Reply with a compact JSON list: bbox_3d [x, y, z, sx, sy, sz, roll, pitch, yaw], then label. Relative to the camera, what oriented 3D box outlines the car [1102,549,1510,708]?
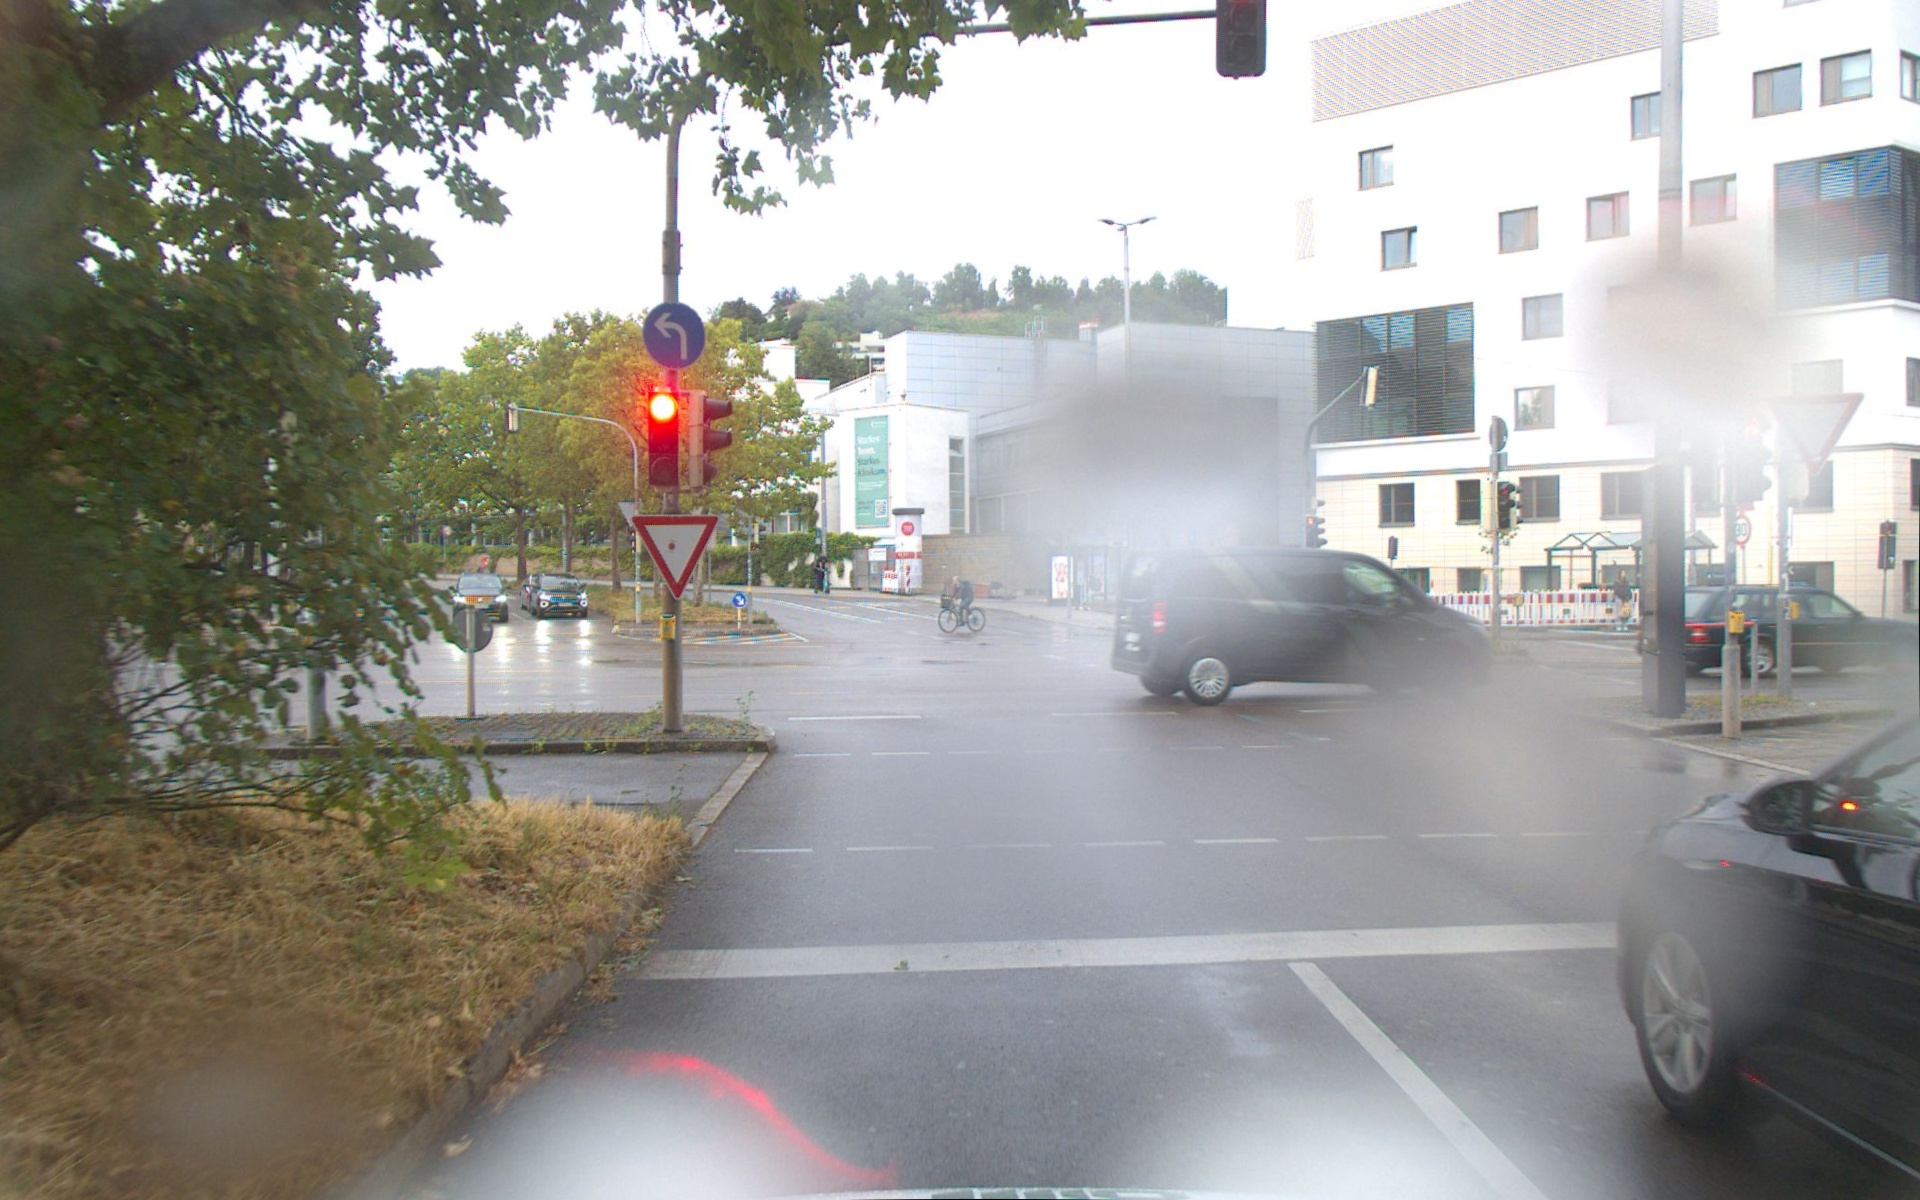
[{"bbox_3d":[4.338,0.311,21.030,4.685,1.840,1.995,-1,1,-11],"label":"car"}]

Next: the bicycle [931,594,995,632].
[{"bbox_3d":[0.089,0.383,48.500,1.797,1.075,0.641,0,0,-31],"label":"bicycle"}]

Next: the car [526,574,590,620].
[{"bbox_3d":[-14.785,-0.137,60.737,1.764,1.612,3.974,-1,1,-22],"label":"car"}]

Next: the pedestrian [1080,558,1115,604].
[{"bbox_3d":[5.395,-0.746,64.901,1.232,1.749,1.016,1,-1,-2],"label":"pedestrian"}]

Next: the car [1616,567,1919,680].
[{"bbox_3d":[13.415,0.349,26.873,4.869,1.702,1.993,-1,0,-13],"label":"car"}]

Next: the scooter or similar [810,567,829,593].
[{"bbox_3d":[-6.983,-0.965,82.048,0.582,1.260,1.305,2,-1,-21],"label":"scooter or similar"}]

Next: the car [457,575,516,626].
[{"bbox_3d":[-16.293,-0.018,56.778,1.838,1.591,4.256,-1,2,-17],"label":"car"}]

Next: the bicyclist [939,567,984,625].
[{"bbox_3d":[0.044,-0.118,48.437,1.113,1.661,0.695,2,-1,-31],"label":"bicyclist"}]

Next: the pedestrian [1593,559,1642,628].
[{"bbox_3d":[18.130,-0.178,45.625,0.934,1.872,0.821,1,-1,-12],"label":"pedestrian"}]

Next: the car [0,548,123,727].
[{"bbox_3d":[-12.097,0.386,18.792,4.209,1.941,1.797,0,1,-3],"label":"car"}]

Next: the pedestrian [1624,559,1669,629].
[{"bbox_3d":[19.810,-0.164,47.727,0.980,1.969,0.955,1,-1,9],"label":"pedestrian"}]

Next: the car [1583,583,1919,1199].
[{"bbox_3d":[2.907,0.748,3.258,1.636,1.491,4.513,0,1,0],"label":"car"}]

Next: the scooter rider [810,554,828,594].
[{"bbox_3d":[-6.989,-1.283,82.057,0.713,1.916,0.628,2,-1,-21],"label":"scooter rider"}]
